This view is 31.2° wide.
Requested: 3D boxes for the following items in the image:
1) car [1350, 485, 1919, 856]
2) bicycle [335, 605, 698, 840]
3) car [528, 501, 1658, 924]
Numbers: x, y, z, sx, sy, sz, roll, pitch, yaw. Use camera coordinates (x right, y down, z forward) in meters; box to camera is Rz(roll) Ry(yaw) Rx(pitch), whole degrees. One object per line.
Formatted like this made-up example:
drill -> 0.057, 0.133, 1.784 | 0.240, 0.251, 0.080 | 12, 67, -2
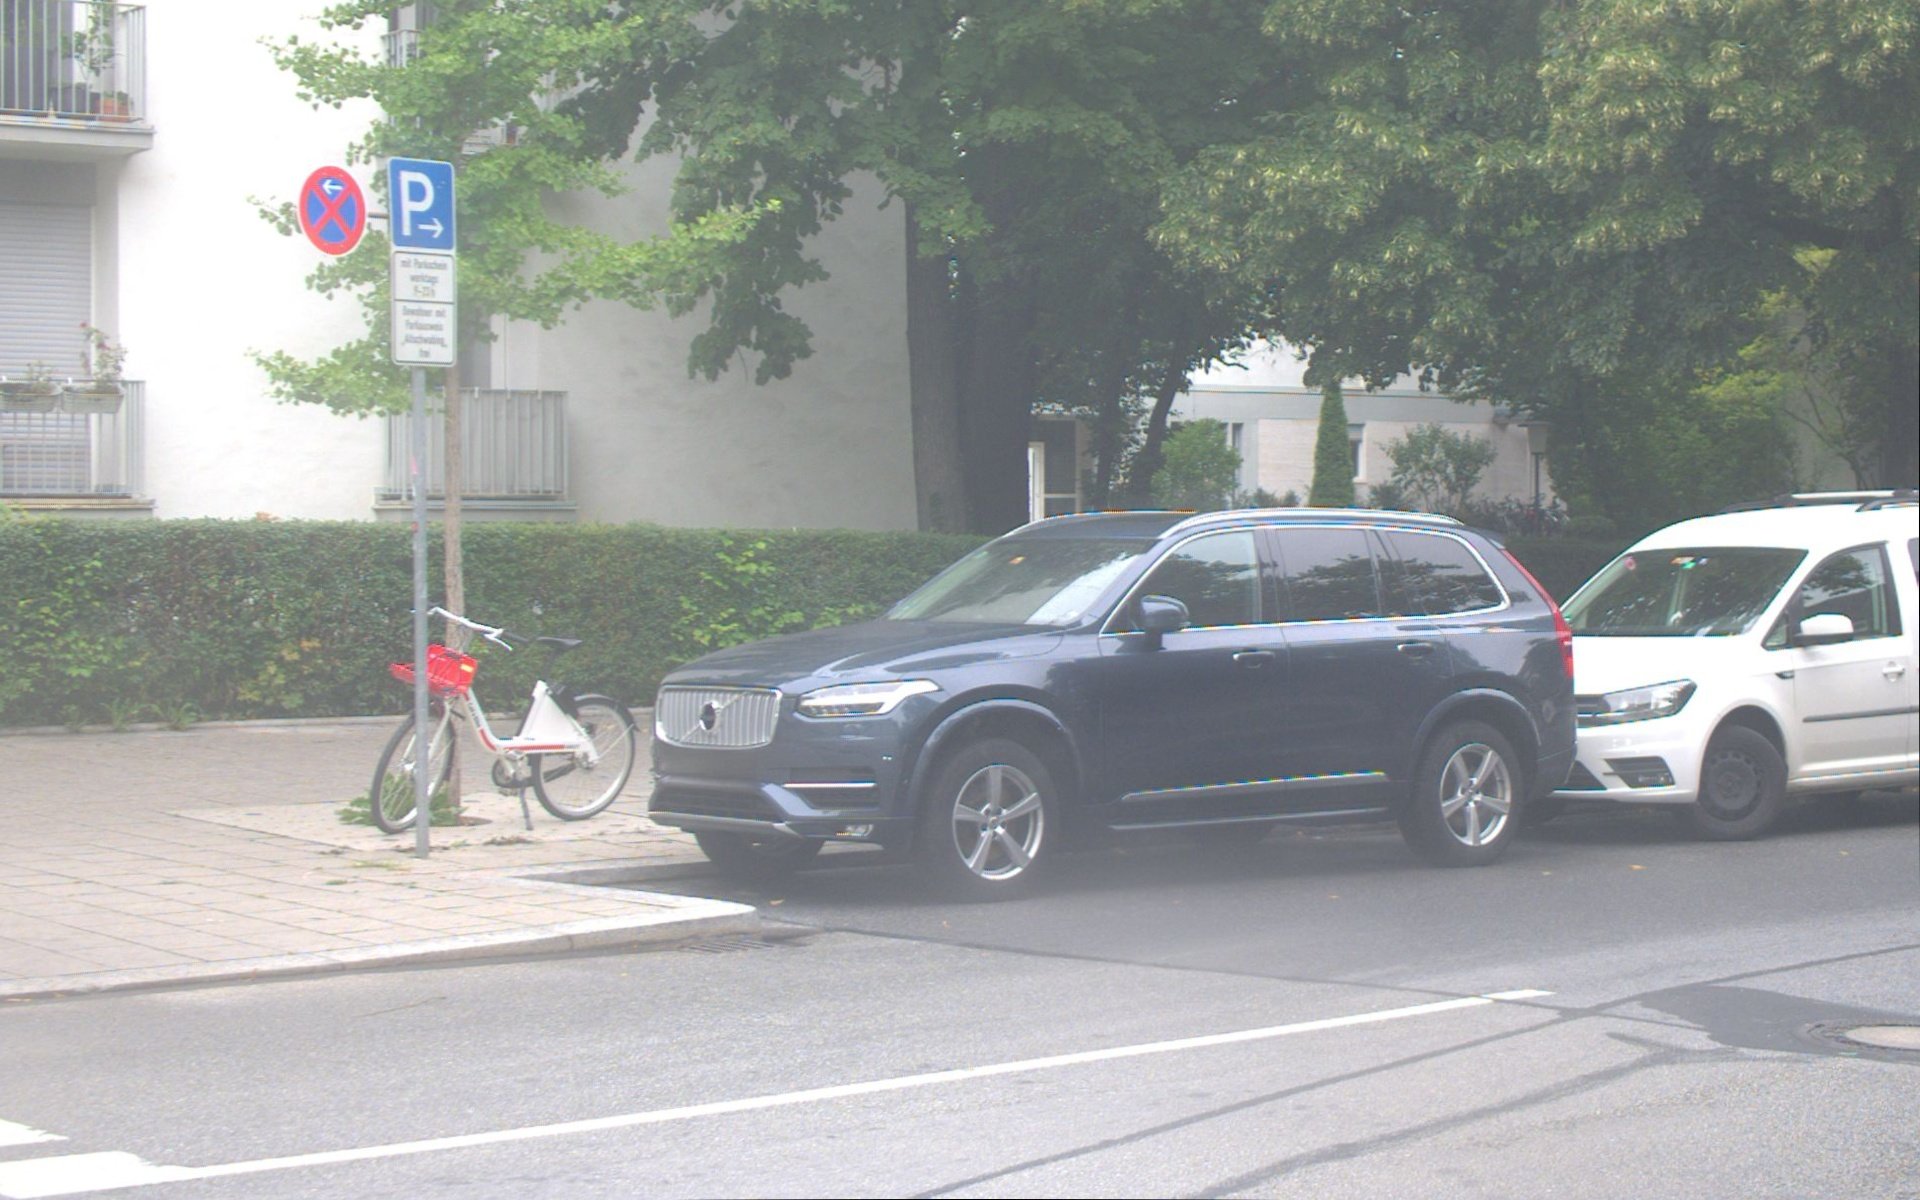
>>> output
car -> 4.719, 0.324, 19.948 | 4.844, 1.897, 2.090 | 0, 2, -40
bicycle -> -2.211, 0.585, 17.312 | 0.753, 1.081, 1.780 | 1, 1, 39
car -> 0.768, 0.425, 16.433 | 5.289, 1.713, 2.090 | 0, 2, -38
